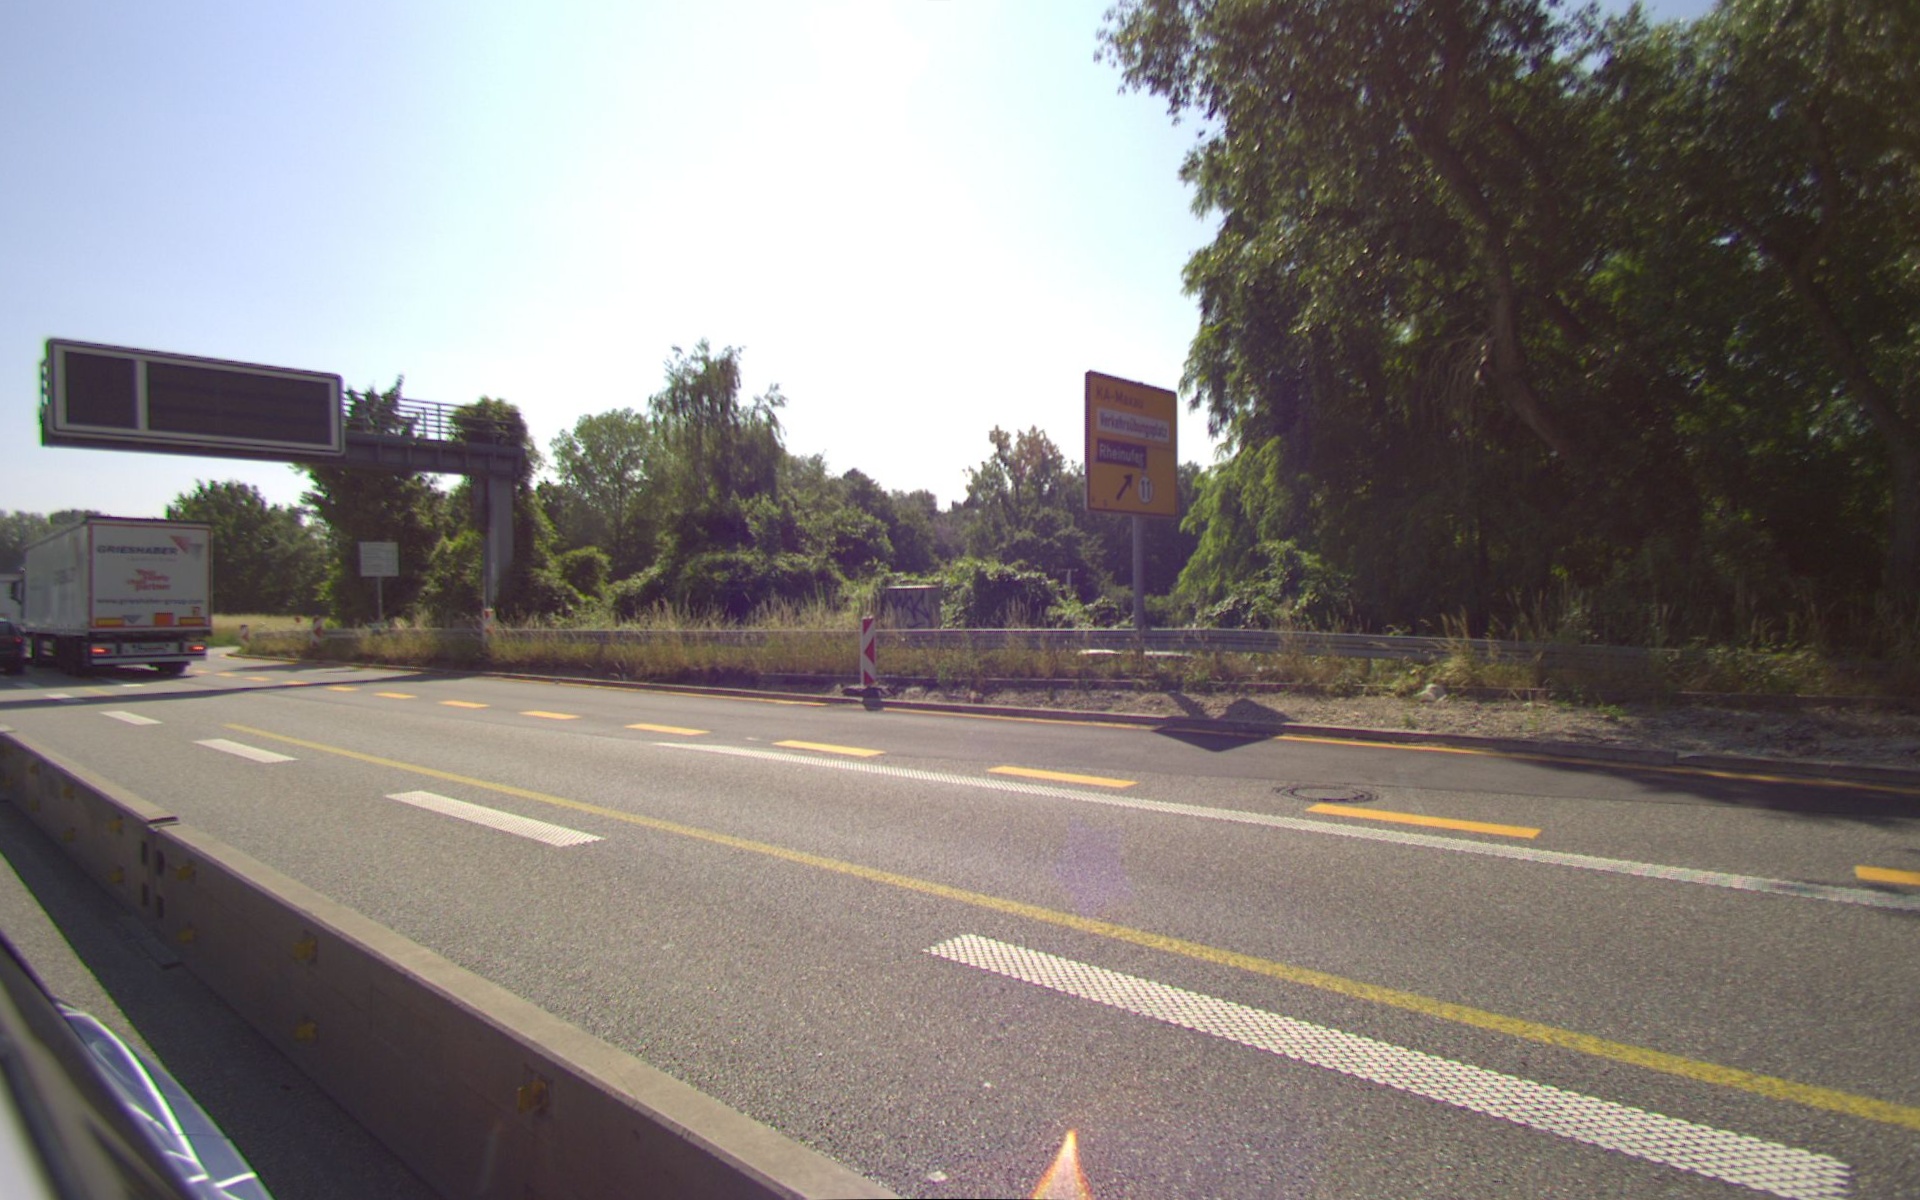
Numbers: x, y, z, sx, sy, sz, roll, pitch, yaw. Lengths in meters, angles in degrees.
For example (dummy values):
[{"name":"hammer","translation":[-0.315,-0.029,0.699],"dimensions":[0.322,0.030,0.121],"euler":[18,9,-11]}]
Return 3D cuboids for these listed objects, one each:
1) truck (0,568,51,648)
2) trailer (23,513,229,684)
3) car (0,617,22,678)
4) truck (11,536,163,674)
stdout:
[{"name":"truck","translation":[-52.544,0.474,55.666],"dimensions":[8.710,4.136,3.012],"euler":[-1,0,43]},{"name":"trailer","translation":[-24.797,0.004,29.707],"dimensions":[12.340,4.136,3.012],"euler":[-1,0,43]},{"name":"car","translation":[-27.800,1.317,28.414],"dimensions":[4.370,1.642,1.725],"euler":[-1,0,41]},{"name":"truck","translation":[-29.505,0.176,34.061],"dimensions":[7.642,4.136,3.012],"euler":[-1,0,43]}]
